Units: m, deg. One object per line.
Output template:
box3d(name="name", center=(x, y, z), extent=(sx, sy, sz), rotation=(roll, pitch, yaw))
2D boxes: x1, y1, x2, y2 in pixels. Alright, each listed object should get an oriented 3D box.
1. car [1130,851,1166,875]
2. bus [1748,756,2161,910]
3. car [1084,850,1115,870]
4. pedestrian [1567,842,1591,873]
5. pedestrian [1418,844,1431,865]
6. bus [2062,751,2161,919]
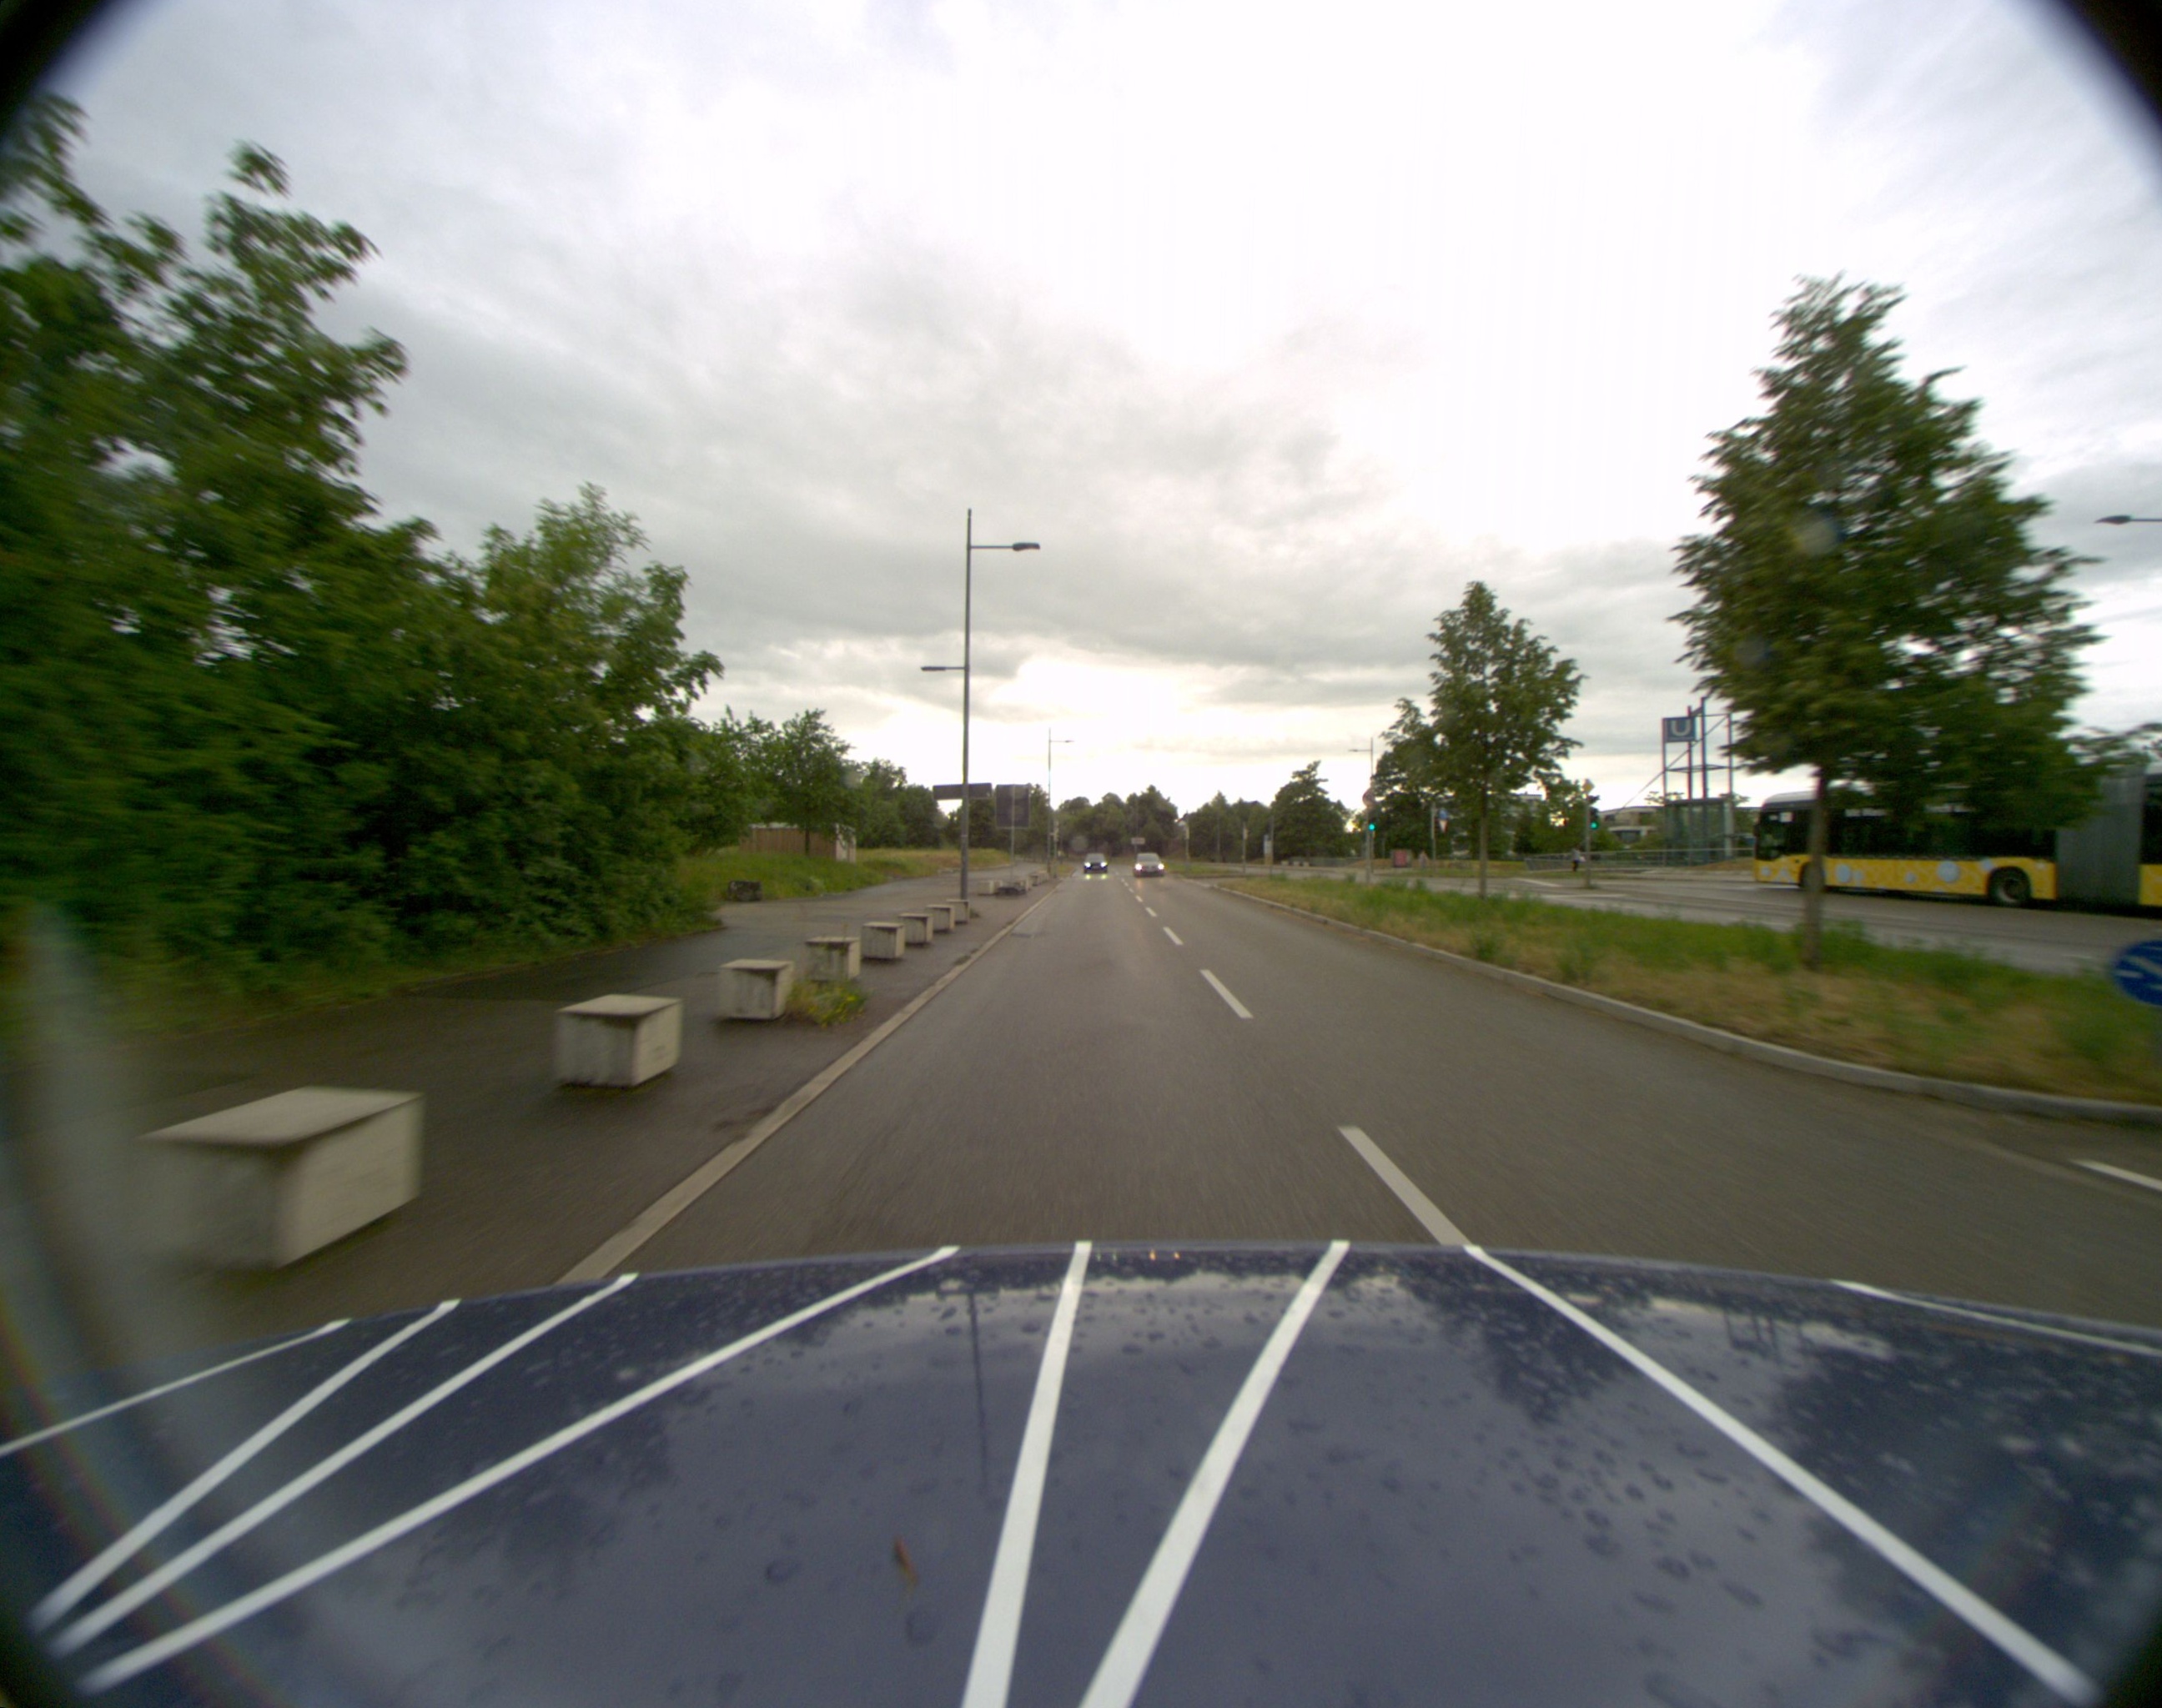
box3d(name="car", center=(4.151, 0.570, 47.938), extent=(1.810, 1.421, 4.196), rotation=(-1, 0, -1))
box3d(name="bus", center=(24.627, -0.581, 22.159), extent=(2.826, 3.453, 9.978), rotation=(-1, 1, 9))
box3d(name="car", center=(1.342, 0.470, 57.397), extent=(1.990, 1.391, 4.176), rotation=(0, -1, -3))
box3d(name="pedestrian", center=(26.307, 0.194, 40.144), extent=(0.823, 1.584, 0.673), rotation=(0, -1, -20))
box3d(name="pedestrian", center=(26.606, 0.075, 58.830), extent=(0.616, 1.584, 0.812), rotation=(0, -1, -3))
box3d(name="bus", center=(23.249, -0.371, 13.107), extent=(2.826, 3.453, 8.235), rotation=(-1, 1, 9))
